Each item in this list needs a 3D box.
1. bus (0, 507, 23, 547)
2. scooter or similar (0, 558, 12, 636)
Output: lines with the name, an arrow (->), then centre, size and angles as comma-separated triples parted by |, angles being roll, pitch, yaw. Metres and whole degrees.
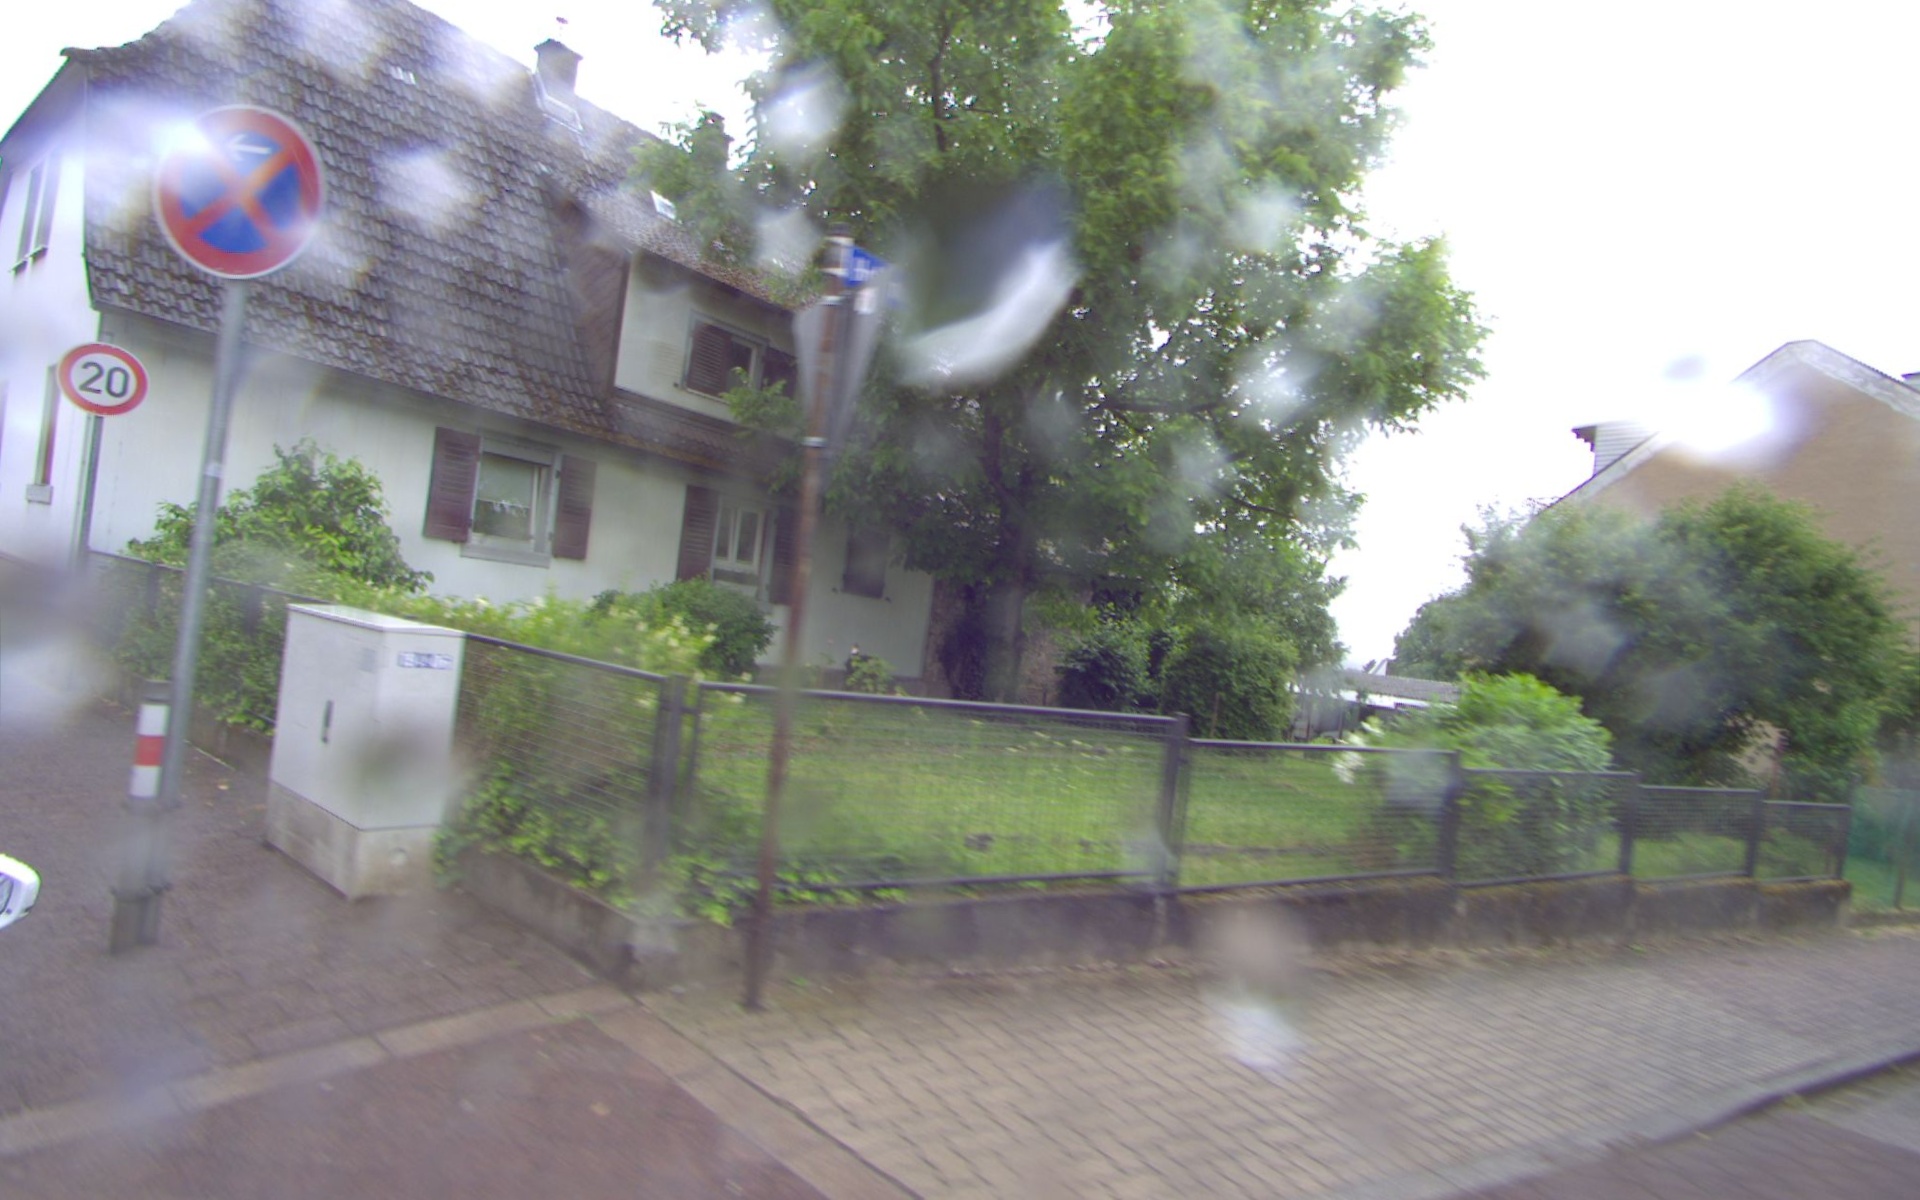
bus -> -85.028, -6.561, 88.768 | 2.785, 3.214, 8.087 | 10, -4, -40
scooter or similar -> -9.444, 0.103, 9.662 | 1.084, 1.039, 0.245 | 7, -2, 40
